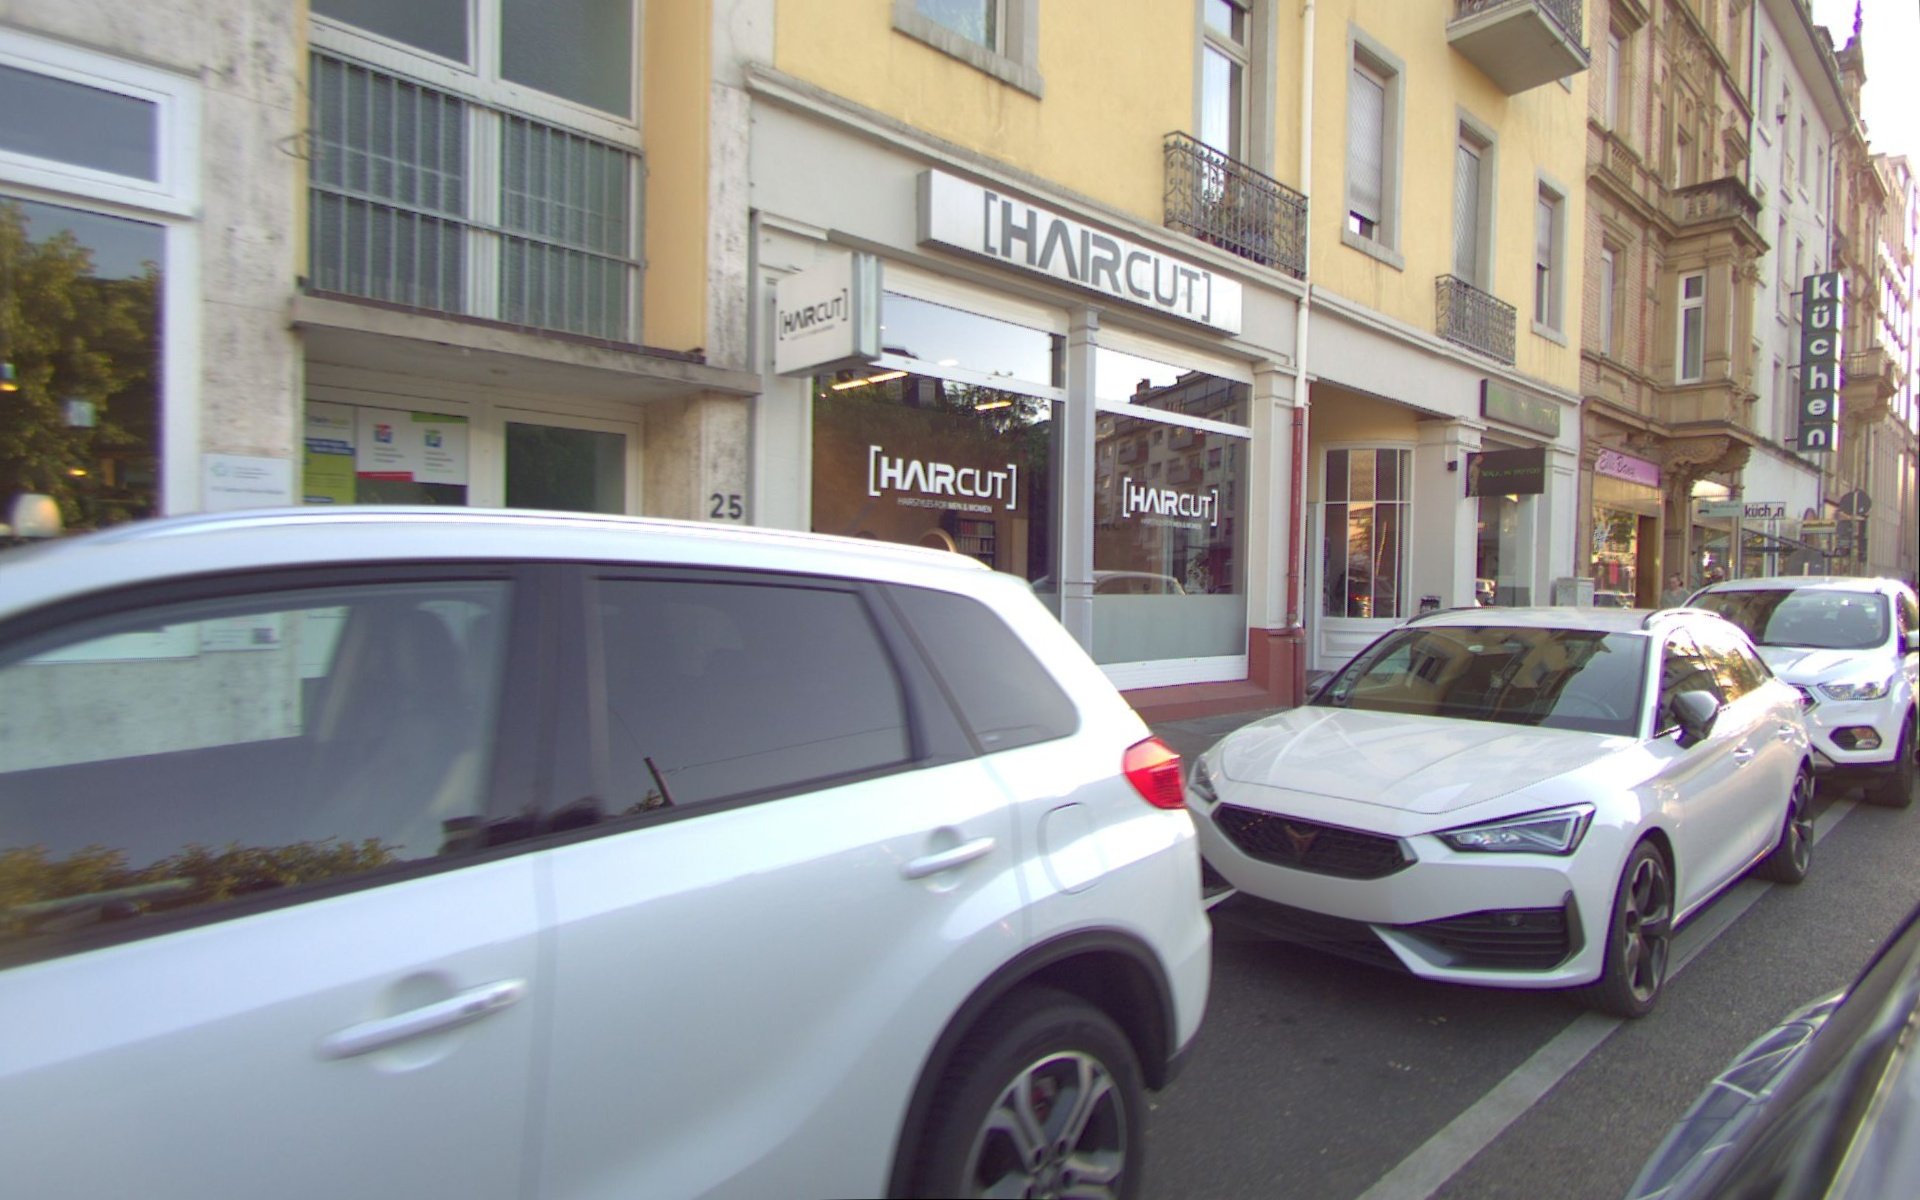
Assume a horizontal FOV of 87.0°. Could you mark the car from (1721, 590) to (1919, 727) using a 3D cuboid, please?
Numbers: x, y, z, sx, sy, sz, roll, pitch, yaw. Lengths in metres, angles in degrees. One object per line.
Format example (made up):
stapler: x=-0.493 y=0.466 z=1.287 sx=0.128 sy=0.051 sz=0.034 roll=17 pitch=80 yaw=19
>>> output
car: x=11.375 y=0.618 z=12.913 sx=4.374 sy=1.447 sz=1.906 roll=0 pitch=1 yaw=-43

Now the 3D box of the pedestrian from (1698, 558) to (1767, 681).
pedestrian: x=13.240 y=0.310 z=17.347 sx=0.836 sy=2.039 sz=0.763 roll=0 pitch=0 yaw=-40

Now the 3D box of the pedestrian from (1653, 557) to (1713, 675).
pedestrian: x=12.879 y=0.271 z=18.032 sx=0.836 sy=2.039 sz=0.673 roll=0 pitch=0 yaw=-40

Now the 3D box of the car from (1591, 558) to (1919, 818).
car: x=7.253 y=0.551 z=8.721 sx=4.352 sy=1.695 sz=1.876 roll=0 pitch=1 yaw=-41

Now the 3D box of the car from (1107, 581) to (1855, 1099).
car: x=2.894 y=0.672 z=5.039 sx=4.529 sy=1.475 sz=1.737 roll=0 pitch=1 yaw=-41

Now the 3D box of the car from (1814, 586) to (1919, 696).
car: x=15.254 y=0.586 z=16.179 sx=4.374 sy=1.559 sz=1.906 roll=0 pitch=1 yaw=-43

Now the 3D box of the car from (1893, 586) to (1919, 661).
car: x=22.257 y=0.509 z=22.679 sx=4.130 sy=1.603 sz=1.642 roll=0 pitch=1 yaw=-43

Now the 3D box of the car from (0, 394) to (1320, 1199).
car: x=-1.278 y=0.613 z=1.811 sx=4.129 sy=1.641 sz=1.820 roll=0 pitch=1 yaw=-41
